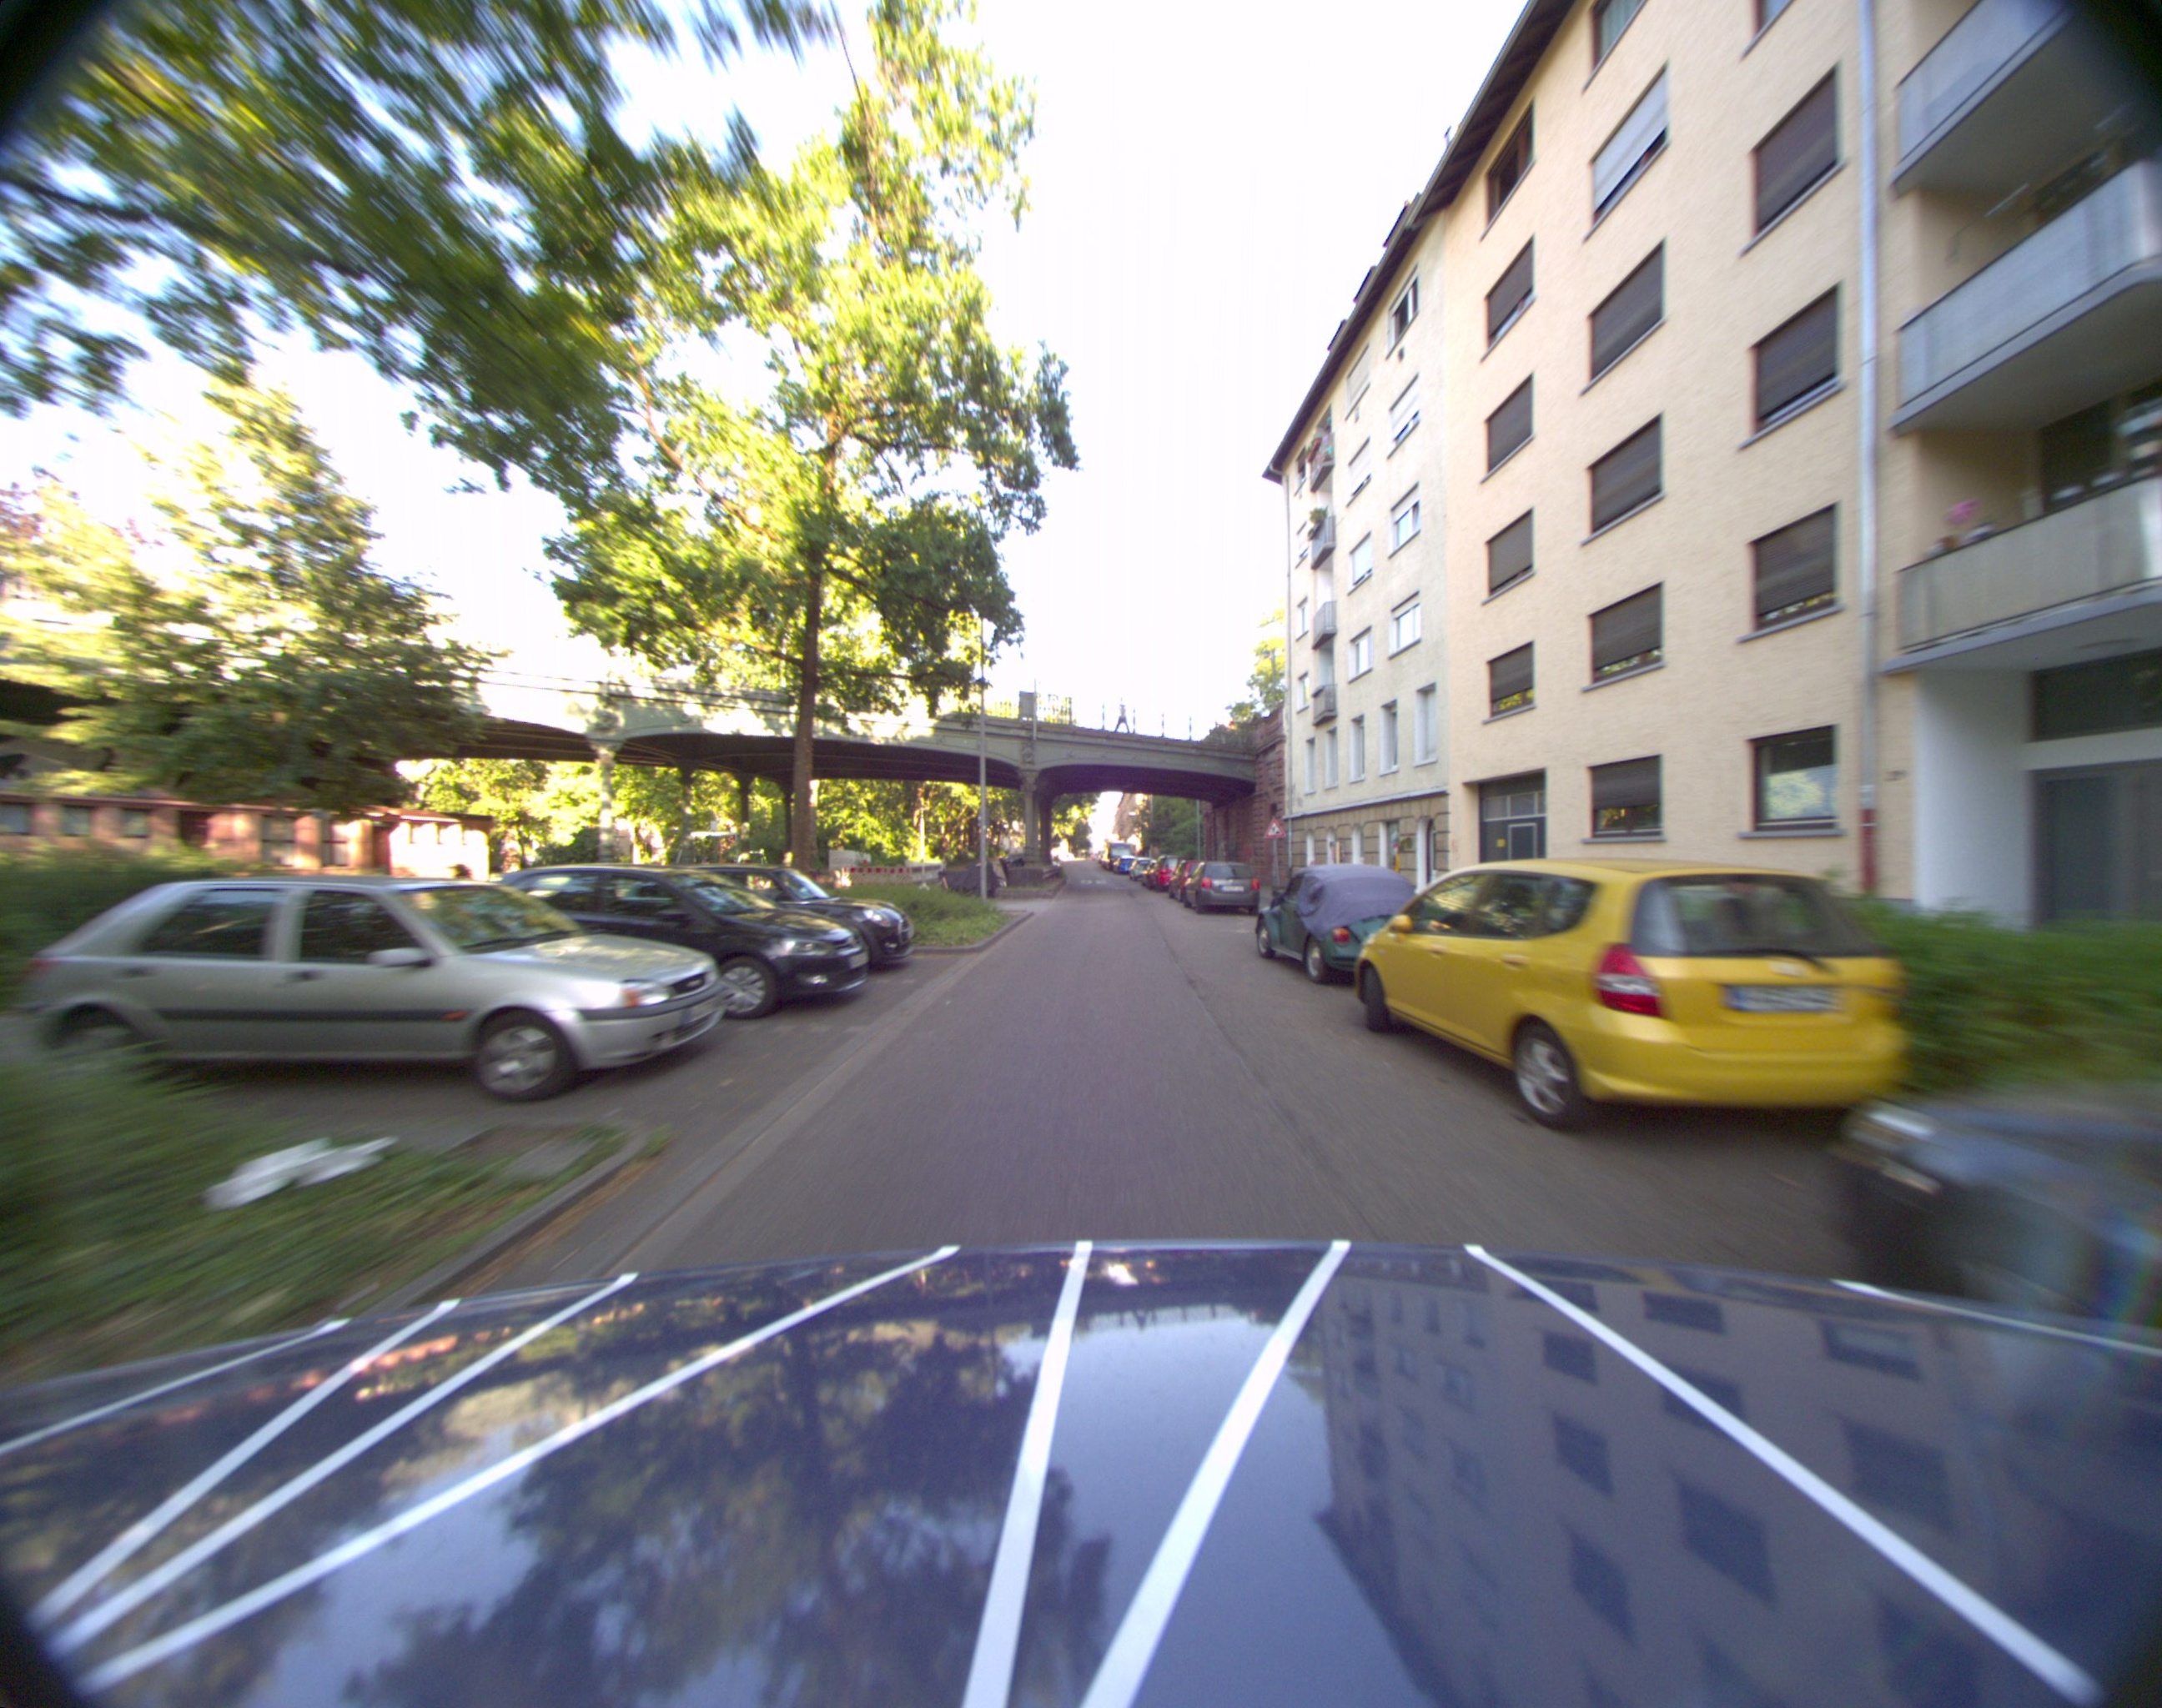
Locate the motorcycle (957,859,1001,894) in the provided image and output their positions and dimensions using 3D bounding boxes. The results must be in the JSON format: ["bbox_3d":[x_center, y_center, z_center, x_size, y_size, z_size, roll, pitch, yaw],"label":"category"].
[{"bbox_3d":[-4.222,0.928,31.415,1.601,1.400,0.713,-1,2,20],"label":"motorcycle"}]

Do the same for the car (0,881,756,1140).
[{"bbox_3d":[-4.503,0.946,5.238,3.792,1.393,1.663,0,2,-1],"label":"car"}]

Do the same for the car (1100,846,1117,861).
[{"bbox_3d":[2.939,-0.069,80.945,1.703,1.489,4.548,1,2,1],"label":"car"}]

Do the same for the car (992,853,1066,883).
[{"bbox_3d":[-3.118,0.835,46.238,4.386,1.569,1.673,-2,2,-2],"label":"car"}]

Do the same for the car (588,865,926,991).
[{"bbox_3d":[-4.106,0.919,10.129,3.793,1.464,1.634,0,2,-4],"label":"car"}]

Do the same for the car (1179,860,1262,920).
[{"bbox_3d":[3.970,0.977,22.177,1.641,1.458,4.000,2,0,0],"label":"car"}]

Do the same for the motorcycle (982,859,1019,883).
[{"bbox_3d":[-4.126,0.847,38.971,1.729,1.126,0.710,-3,2,-34],"label":"motorcycle"}]

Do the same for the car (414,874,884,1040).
[{"bbox_3d":[-4.174,0.960,7.836,3.791,1.393,1.827,0,2,1],"label":"car"}]

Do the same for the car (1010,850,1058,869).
[{"bbox_3d":[-4.068,0.472,66.087,4.031,1.565,1.586,-2,2,-2],"label":"car"}]

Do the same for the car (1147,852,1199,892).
[{"bbox_3d":[4.179,0.783,35.036,1.721,1.698,4.321,1,1,-2],"label":"car"}]

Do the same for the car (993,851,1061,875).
[{"bbox_3d":[-3.747,0.638,53.325,4.596,1.597,1.734,0,2,3],"label":"car"}]

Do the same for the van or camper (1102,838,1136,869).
[{"bbox_3d":[3.295,-0.126,66.717,2.242,2.509,6.417,-2,2,-3],"label":"van or camper"}]

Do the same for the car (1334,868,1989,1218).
[{"bbox_3d":[3.290,0.901,5.369,1.707,1.516,3.773,0,0,-1],"label":"car"}]

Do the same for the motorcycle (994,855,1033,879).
[{"bbox_3d":[-3.767,0.706,42.357,1.938,1.231,0.902,-2,2,-25],"label":"motorcycle"}]

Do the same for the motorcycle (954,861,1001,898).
[{"bbox_3d":[-3.998,0.979,29.447,1.601,1.400,0.713,-1,2,20],"label":"motorcycle"}]

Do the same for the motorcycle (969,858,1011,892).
[{"bbox_3d":[-3.869,0.893,32.327,1.601,1.400,0.713,-1,2,20],"label":"motorcycle"}]

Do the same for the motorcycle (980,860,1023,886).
[{"bbox_3d":[-3.841,0.907,36.622,1.839,1.126,0.849,-2,2,-24],"label":"motorcycle"}]

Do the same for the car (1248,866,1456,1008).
[{"bbox_3d":[3.428,0.957,10.353,1.570,1.508,3.782,0,0,1],"label":"car"}]

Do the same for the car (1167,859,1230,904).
[{"bbox_3d":[4.174,0.936,27.498,1.693,1.433,3.999,0,0,0],"label":"car"}]

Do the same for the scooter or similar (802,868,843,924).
[{"bbox_3d":[-6.465,1.031,19.033,0.478,1.291,1.325,-1,2,3],"label":"scooter or similar"}]

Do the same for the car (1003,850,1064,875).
[{"bbox_3d":[-3.501,0.612,56.060,4.387,1.699,1.905,-2,2,-4],"label":"car"}]

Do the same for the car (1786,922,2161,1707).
[{"bbox_3d":[2.909,0.945,0.209,1.744,1.470,4.000,1,0,1],"label":"car"}]

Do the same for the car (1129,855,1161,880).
[{"bbox_3d":[4.231,0.857,50.876,1.599,1.538,3.913,1,1,-3],"label":"car"}]

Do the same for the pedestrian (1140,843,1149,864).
[{"bbox_3d":[5.933,-0.023,71.183,0.639,1.903,1.046,-2,2,-7],"label":"pedestrian"}]

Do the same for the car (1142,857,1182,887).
[{"bbox_3d":[4.243,0.922,40.324,1.721,1.455,4.000,1,1,0],"label":"car"}]

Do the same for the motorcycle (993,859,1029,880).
[{"bbox_3d":[-3.734,0.839,40.670,1.729,1.024,0.810,-3,2,-34],"label":"motorcycle"}]

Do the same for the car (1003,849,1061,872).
[{"bbox_3d":[-3.921,0.501,61.125,4.544,1.686,1.906,-2,2,-2],"label":"car"}]

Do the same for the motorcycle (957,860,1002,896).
[{"bbox_3d":[-4.058,0.955,30.315,1.601,1.400,0.713,-1,2,20],"label":"motorcycle"}]

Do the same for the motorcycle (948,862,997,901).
[{"bbox_3d":[-4.051,1.009,28.435,1.601,1.400,0.713,-1,2,20],"label":"motorcycle"}]

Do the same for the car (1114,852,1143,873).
[{"bbox_3d":[3.728,0.654,60.504,1.749,1.458,4.372,-2,2,-4],"label":"car"}]

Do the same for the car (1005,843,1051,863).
[{"bbox_3d":[-5.434,-0.128,78.315,4.684,1.914,1.871,2,2,-2],"label":"car"}]
